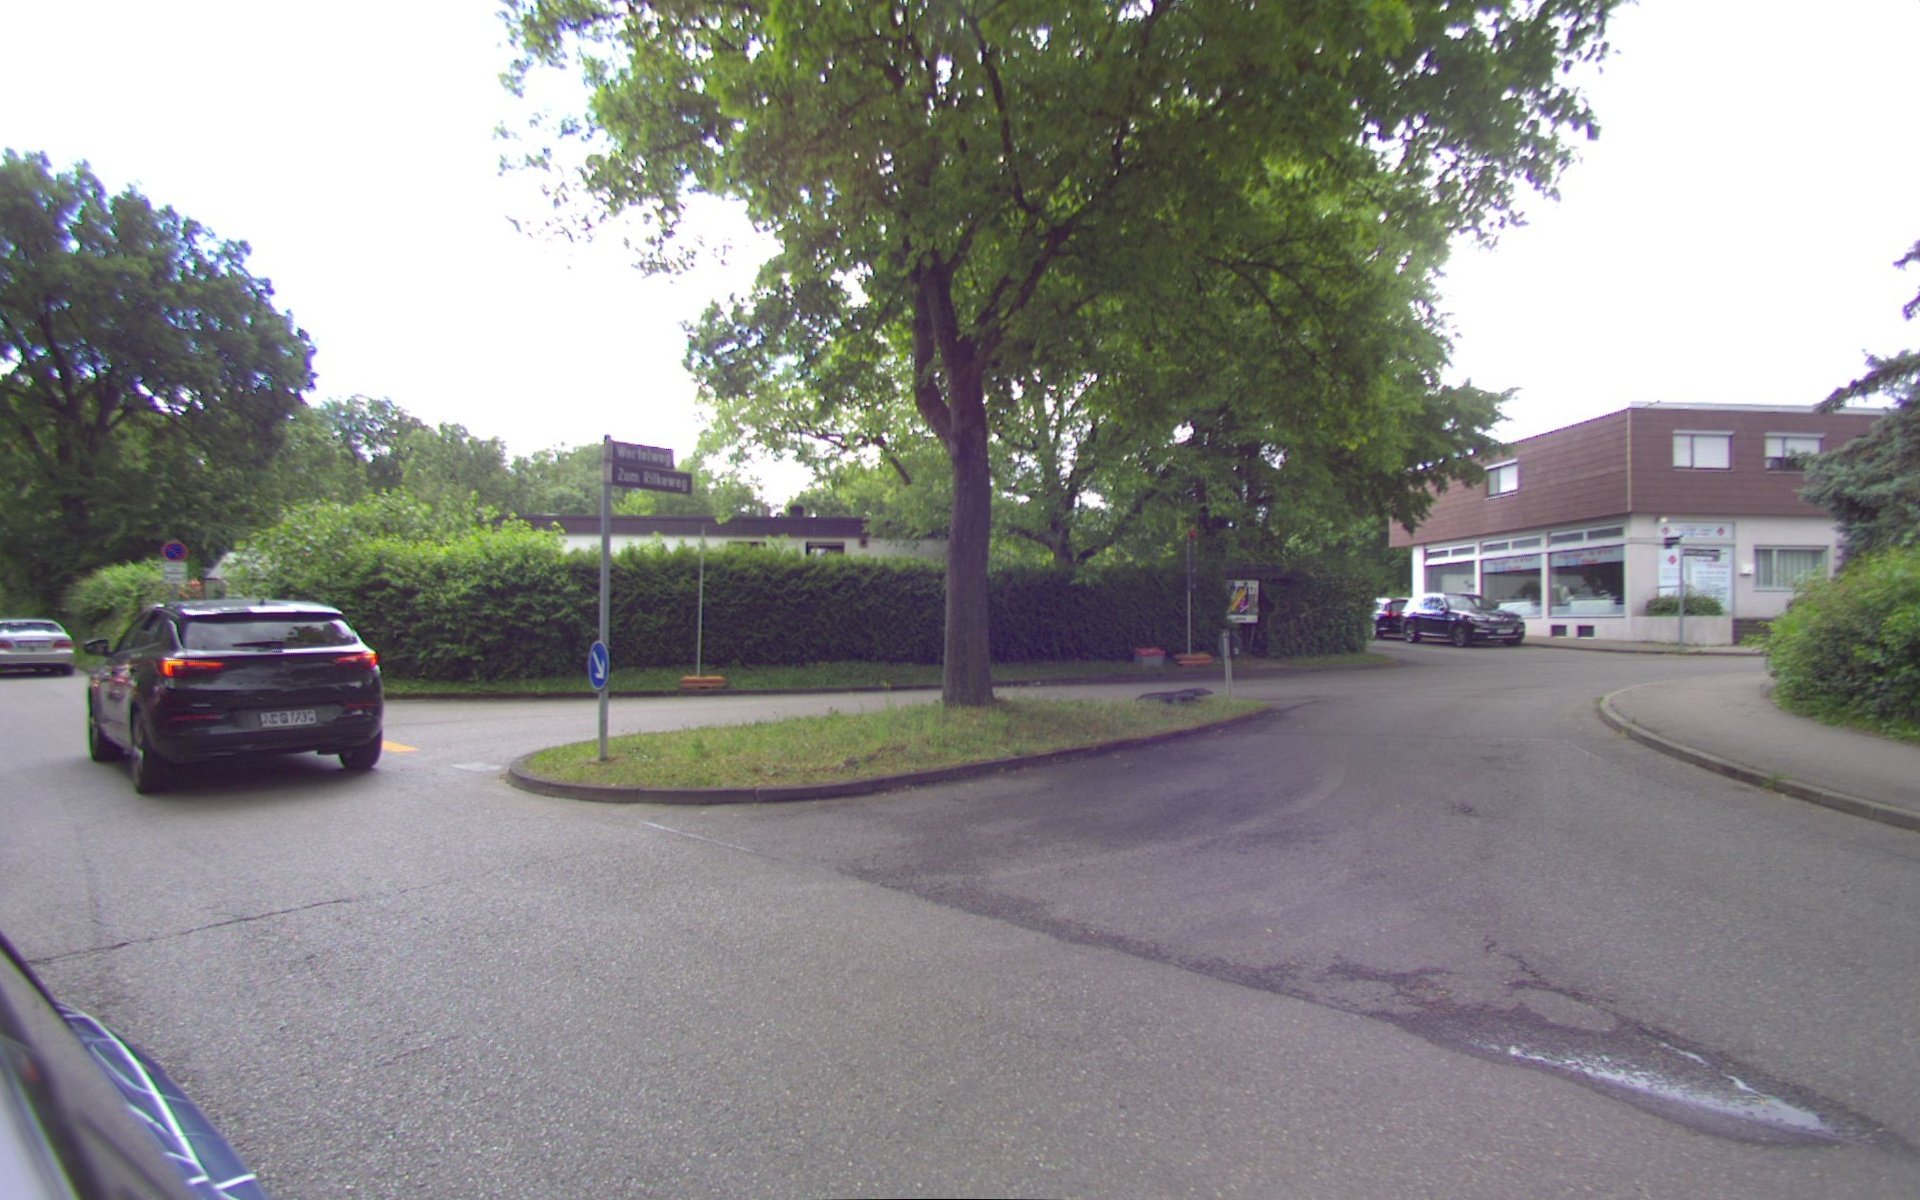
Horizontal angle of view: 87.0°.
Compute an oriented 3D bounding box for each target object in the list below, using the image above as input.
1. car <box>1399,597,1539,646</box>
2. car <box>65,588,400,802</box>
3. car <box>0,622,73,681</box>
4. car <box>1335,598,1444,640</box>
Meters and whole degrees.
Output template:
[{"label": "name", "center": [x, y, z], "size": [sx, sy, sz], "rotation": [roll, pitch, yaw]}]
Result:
[{"label": "car", "center": [16.022, 0.679, 32.144], "size": [1.970, 1.386, 4.283], "rotation": [-2, -1, -4]}, {"label": "car", "center": [-7.125, 0.754, 9.735], "size": [4.295, 1.603, 1.783], "rotation": [-1, -1, 42]}, {"label": "car", "center": [-22.913, 1.207, 24.615], "size": [1.760, 1.316, 4.298], "rotation": [0, -1, -45]}, {"label": "car", "center": [15.710, 0.696, 37.245], "size": [1.944, 1.386, 4.005], "rotation": [-2, -1, -6]}]
